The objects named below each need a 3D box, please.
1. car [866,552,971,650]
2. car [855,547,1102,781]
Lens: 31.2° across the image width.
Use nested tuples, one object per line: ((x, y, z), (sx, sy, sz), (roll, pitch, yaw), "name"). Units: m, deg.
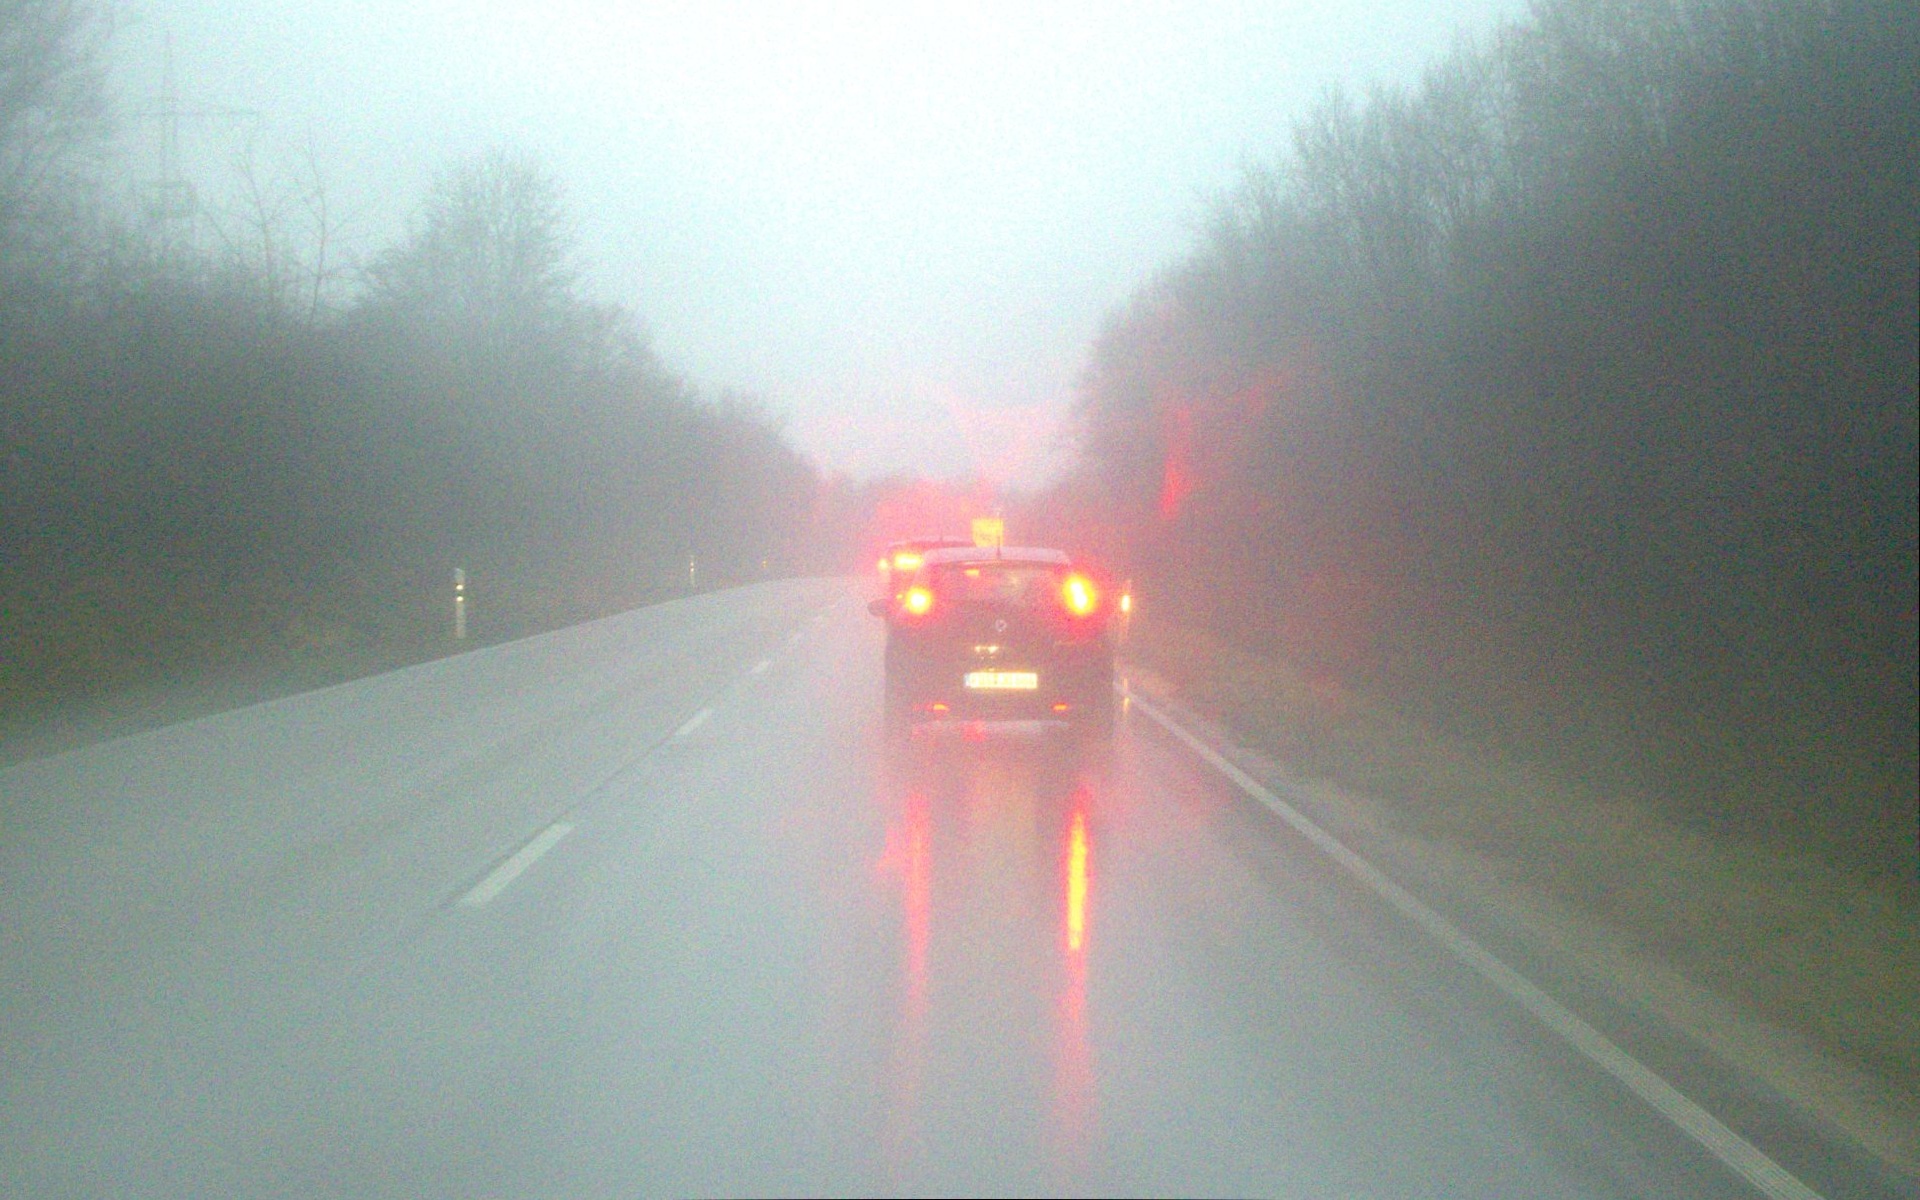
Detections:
((-0.694, -0.004, 60.081), (1.728, 1.638, 4.000), (1, 1, 1), "car")
((0.153, 0.436, 26.347), (1.728, 1.638, 4.000), (1, 1, 1), "car")
